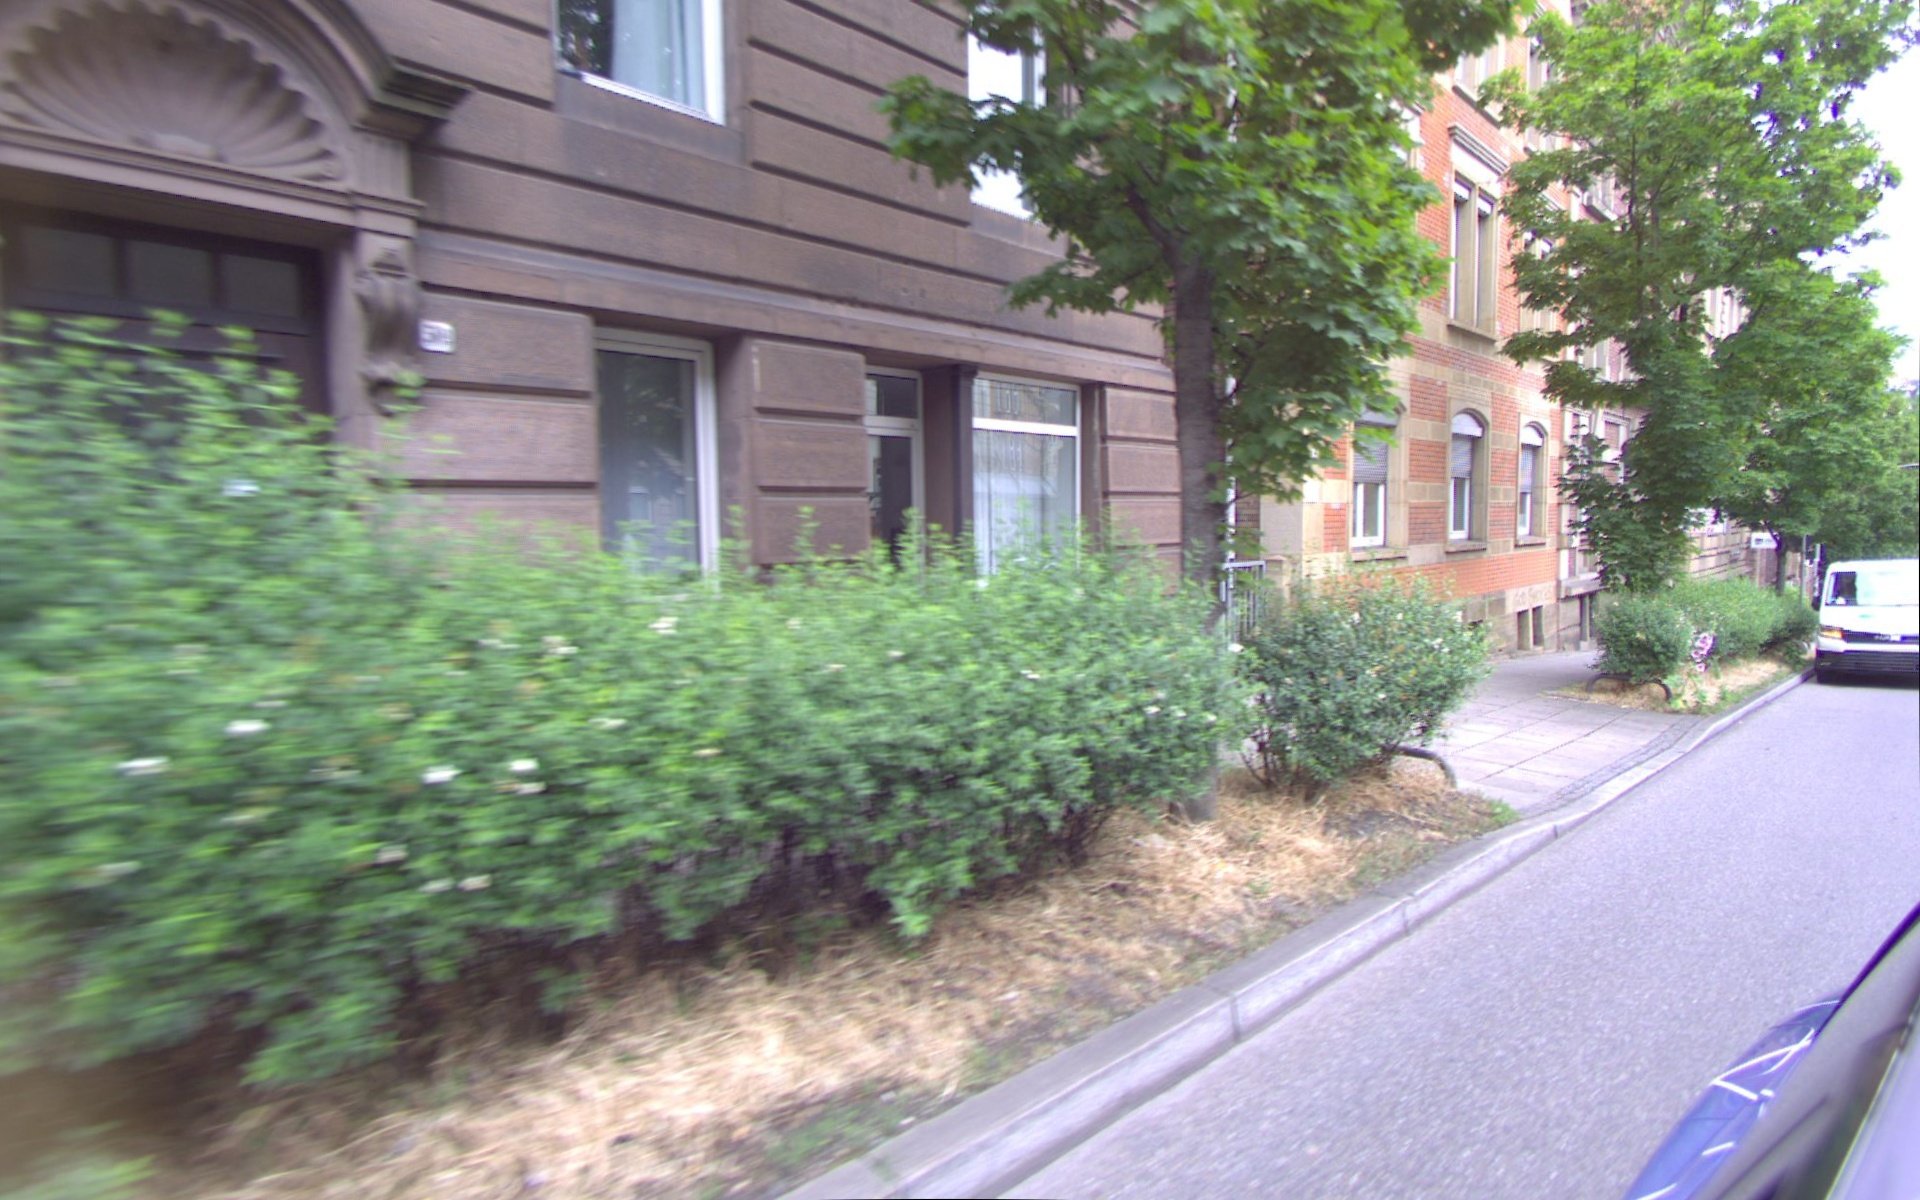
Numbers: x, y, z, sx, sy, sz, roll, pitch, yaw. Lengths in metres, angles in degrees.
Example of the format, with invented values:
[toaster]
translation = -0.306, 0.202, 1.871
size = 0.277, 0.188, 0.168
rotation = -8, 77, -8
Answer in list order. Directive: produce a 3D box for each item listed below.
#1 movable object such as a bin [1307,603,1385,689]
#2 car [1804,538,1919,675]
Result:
[movable object such as a bin]
translation = 4.569, 0.527, 11.994
size = 0.529, 0.954, 0.672
rotation = 0, 2, -42
[car]
translation = 18.037, 0.114, 19.535
size = 2.258, 2.316, 5.872
rotation = 1, 1, 44
